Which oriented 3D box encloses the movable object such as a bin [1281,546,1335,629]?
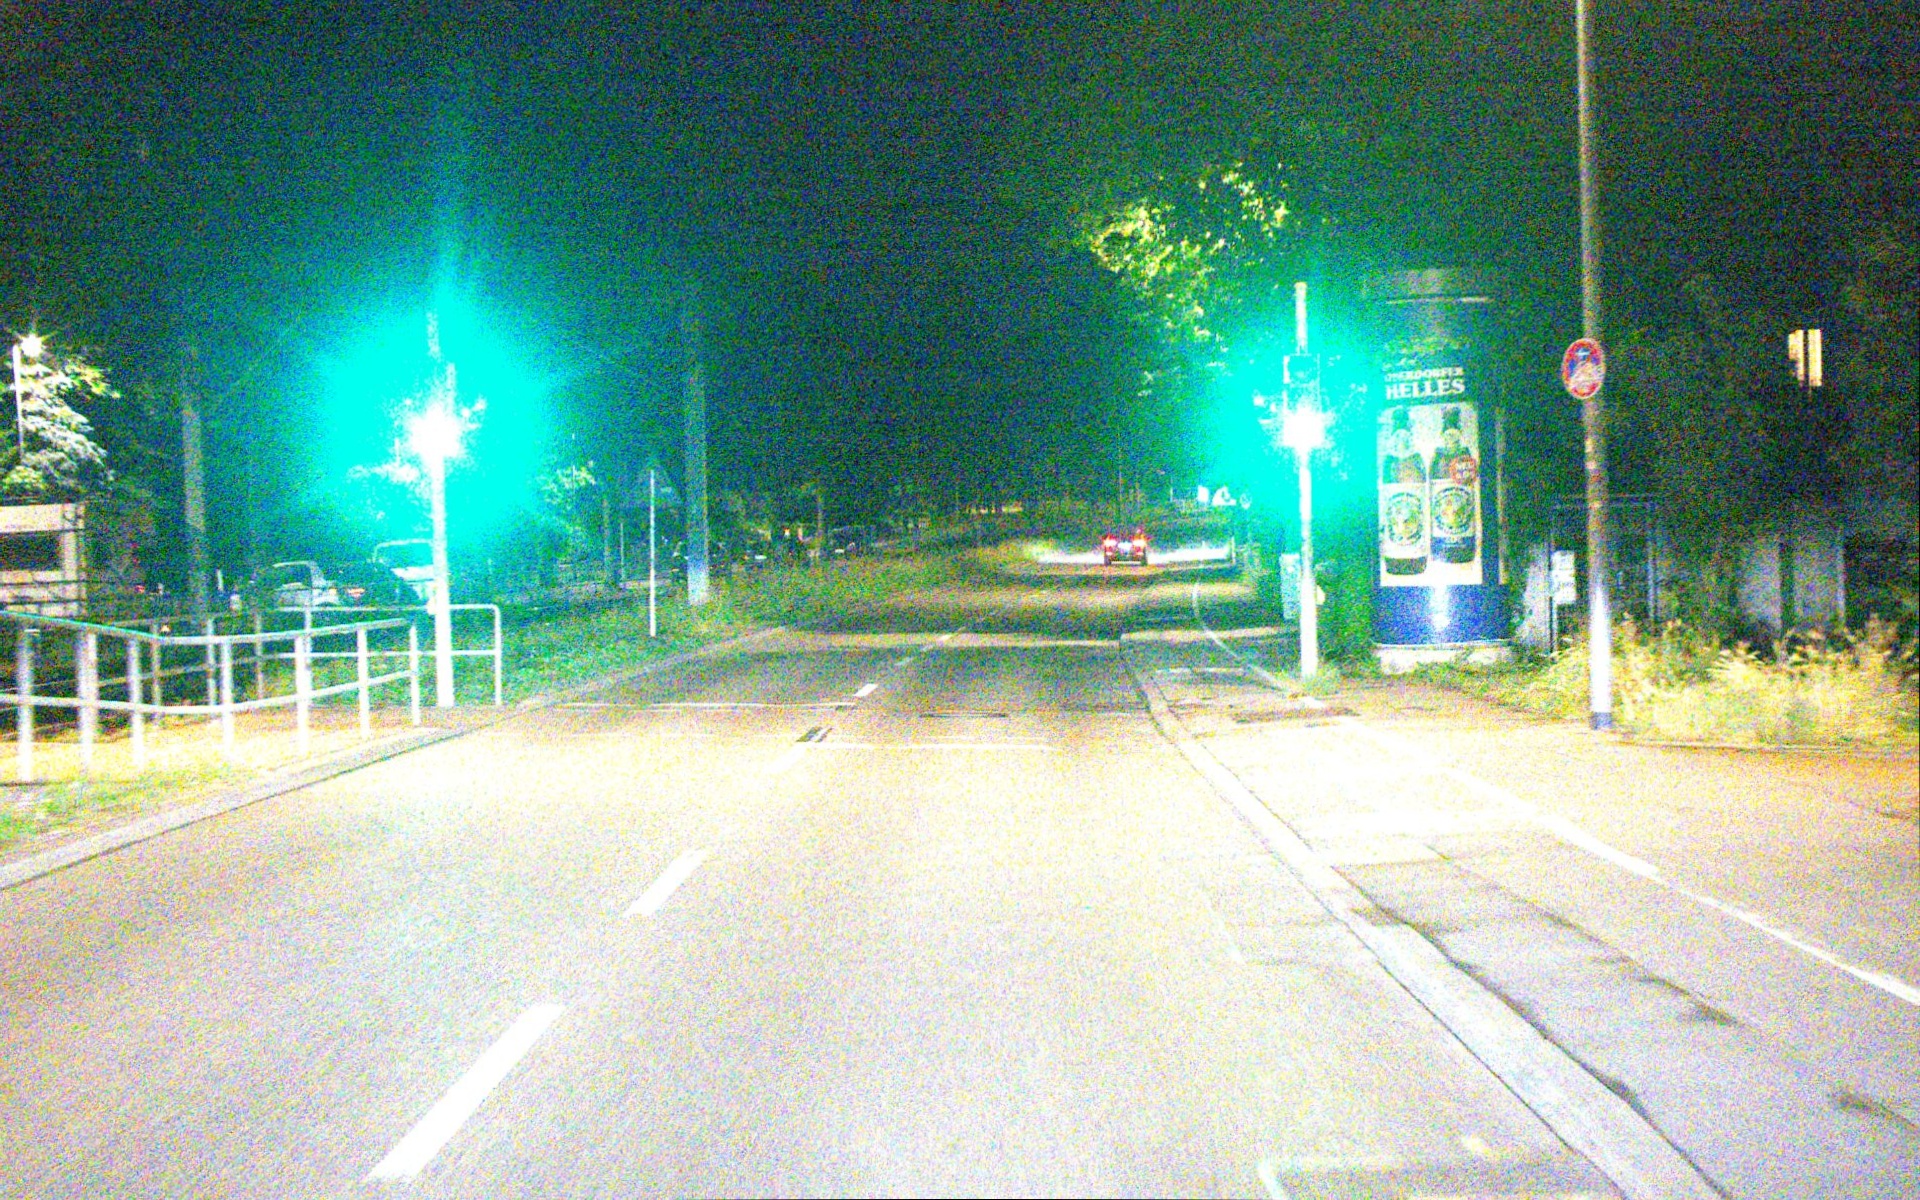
[{"bbox_3d":[5.163,-0.188,50.969,0.724,1.196,0.719,-1,1,11],"label":"movable object such as a bin"}]

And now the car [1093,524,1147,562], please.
[{"bbox_3d":[6.863,-2.431,147.731,2.161,1.577,4.013,0,1,1],"label":"car"}]

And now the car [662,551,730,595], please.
[{"bbox_3d":[-10.113,-1.060,132.099,1.994,1.622,4.677,-1,1,3],"label":"car"}]

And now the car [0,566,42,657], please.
[{"bbox_3d":[-15.049,0.251,50.448,1.646,1.335,4.543,-5,1,3],"label":"car"}]

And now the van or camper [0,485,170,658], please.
[{"bbox_3d":[-14.900,-0.477,56.867,2.272,2.638,5.664,-3,1,-1],"label":"van or camper"}]

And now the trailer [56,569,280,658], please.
[{"bbox_3d":[-14.614,0.219,63.740,2.420,1.370,4.653,-5,0,8],"label":"trailer"}]

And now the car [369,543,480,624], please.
[{"bbox_3d":[-13.023,-0.424,83.878,1.857,1.897,4.880,-1,1,1],"label":"car"}]

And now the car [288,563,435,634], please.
[{"bbox_3d":[-13.491,-0.055,77.818,1.902,1.517,5.170,-1,1,6],"label":"car"}]

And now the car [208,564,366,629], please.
[{"bbox_3d":[-14.151,-0.084,72.344,3.028,1.321,1.534,-1,1,-1],"label":"car"}]

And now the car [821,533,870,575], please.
[{"bbox_3d":[-6.051,-2.454,182.167,2.092,2.006,4.000,-5,1,3],"label":"car"}]

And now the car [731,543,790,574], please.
[{"bbox_3d":[-8.769,-1.839,151.580,1.994,1.333,5.432,-1,1,3],"label":"car"}]
